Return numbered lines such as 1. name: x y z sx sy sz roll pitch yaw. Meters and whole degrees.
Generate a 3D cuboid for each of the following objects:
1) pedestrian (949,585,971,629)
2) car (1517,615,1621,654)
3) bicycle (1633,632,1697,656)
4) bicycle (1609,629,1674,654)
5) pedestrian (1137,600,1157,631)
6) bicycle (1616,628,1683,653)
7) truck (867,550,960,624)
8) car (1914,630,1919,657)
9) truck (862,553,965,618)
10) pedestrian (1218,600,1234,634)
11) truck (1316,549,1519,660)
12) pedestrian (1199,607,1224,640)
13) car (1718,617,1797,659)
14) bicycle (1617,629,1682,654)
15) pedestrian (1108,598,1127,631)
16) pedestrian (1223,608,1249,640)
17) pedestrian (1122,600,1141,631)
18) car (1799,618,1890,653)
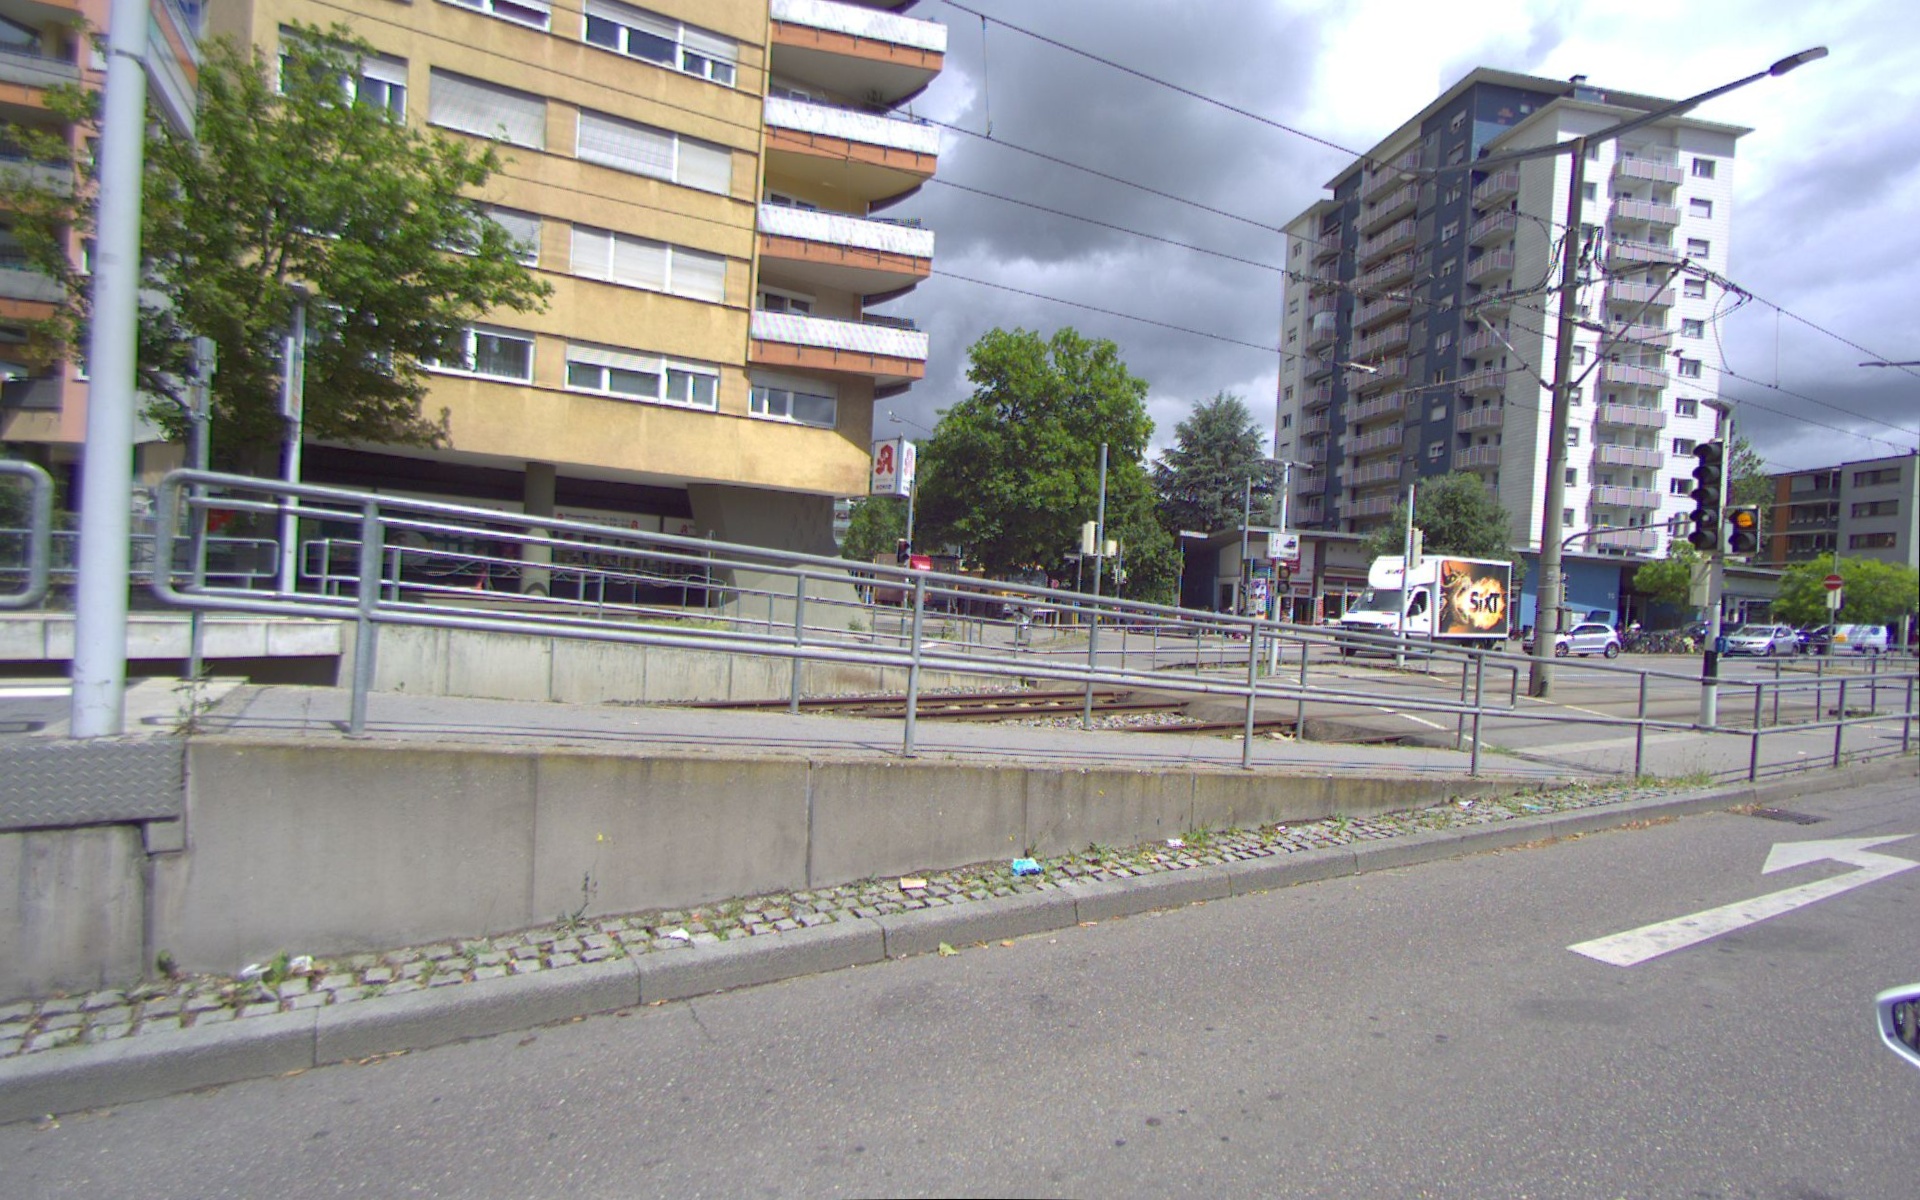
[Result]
1. pedestrian: -0.007 0.271 41.858 0.653 1.799 0.654 1 1 -24
2. car: 25.223 1.414 41.648 3.708 1.480 1.408 1 1 -12
3. bicycle: 35.253 2.201 50.257 2.521 1.022 0.754 3 0 33
4. bicycle: 32.753 2.002 48.341 2.521 1.022 0.754 3 0 33
5. pedestrian: 8.512 0.709 45.715 0.669 1.394 0.536 1 1 -30
6. bicycle: 32.453 1.891 47.323 2.521 1.022 0.754 3 0 33
7. truck: -2.618 -0.688 53.974 2.191 3.688 7.124 1 1 -27
8. car: 58.299 2.620 59.481 3.827 1.554 1.643 1 0 -31
9. truck: -1.876 -0.560 39.015 2.322 2.321 4.261 1 1 -28
10. pedestrian: 13.805 0.883 52.107 0.708 1.693 0.365 1 1 -27
11. truck: 14.481 0.167 31.561 7.241 3.159 2.267 1 1 -34
12. pedestrian: 12.190 1.135 48.688 0.910 1.530 0.743 1 1 -22
13. car: 36.659 1.740 46.172 3.731 1.780 1.583 1 1 -31
14. bicycle: 33.620 2.017 49.024 2.521 1.022 0.754 3 0 33
15. pedestrian: 7.233 0.659 46.183 0.657 1.487 0.555 1 1 -33
16. pedestrian: 13.551 1.158 49.338 0.910 1.530 0.743 1 1 -22
17. pedestrian: 7.716 0.695 45.102 0.669 1.394 0.473 1 1 -31
18. car: 54.544 2.181 62.026 3.846 2.001 1.657 1 0 19
